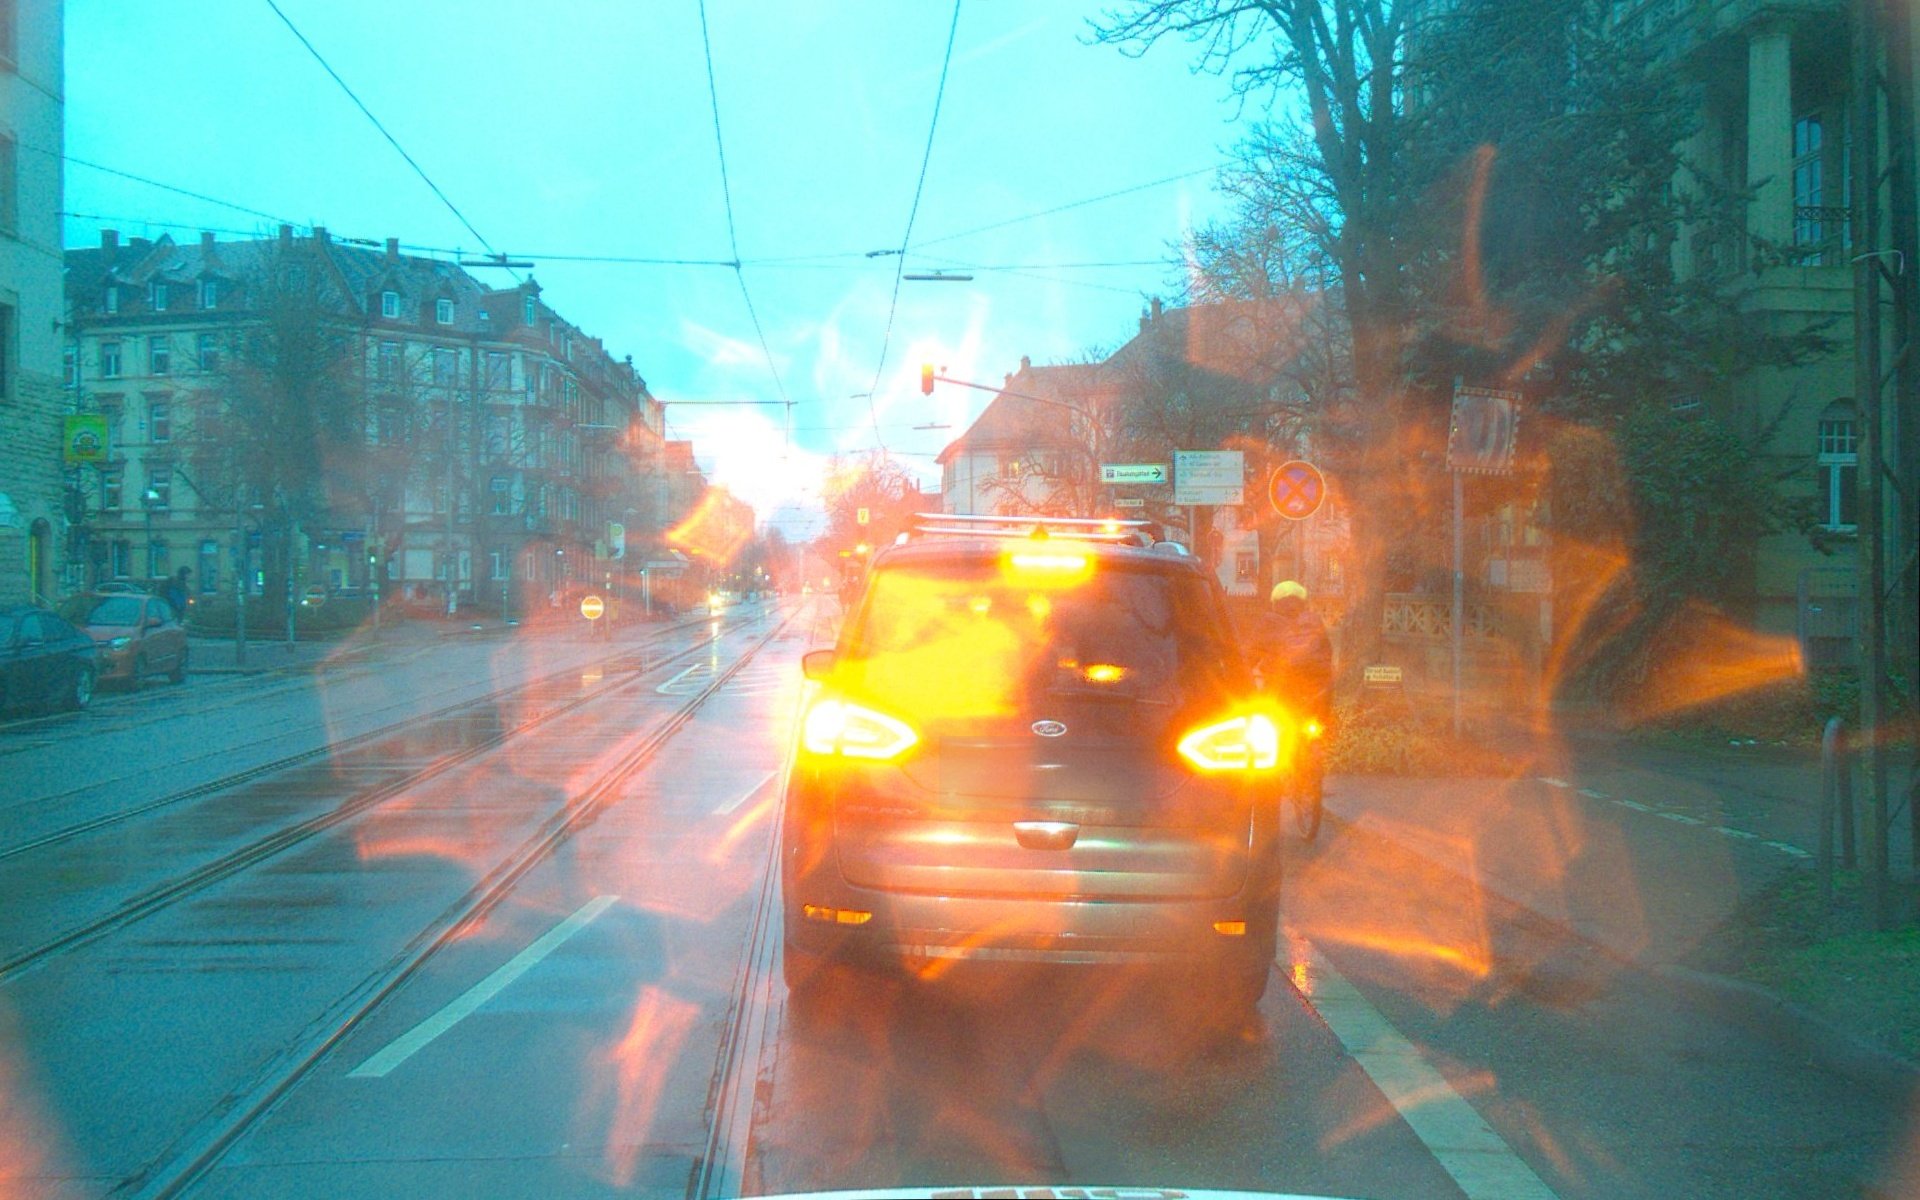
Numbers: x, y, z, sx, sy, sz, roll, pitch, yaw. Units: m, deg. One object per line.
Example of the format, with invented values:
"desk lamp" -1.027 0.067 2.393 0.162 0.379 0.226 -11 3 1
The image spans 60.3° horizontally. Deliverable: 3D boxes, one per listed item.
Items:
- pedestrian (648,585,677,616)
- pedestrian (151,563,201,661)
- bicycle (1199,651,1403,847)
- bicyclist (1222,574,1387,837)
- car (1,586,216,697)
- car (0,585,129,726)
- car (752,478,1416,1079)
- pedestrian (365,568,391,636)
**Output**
"pedestrian" -12.233 0.022 68.013 1.026 1.221 0.884 1 0 -4
"pedestrian" -16.733 0.252 35.304 0.742 2.049 0.646 0 -1 32
"bicycle" 2.312 0.982 11.495 0.703 1.131 1.938 4 0 -9
"bicyclist" 2.350 0.694 11.394 0.703 1.691 1.054 4 0 -9
"car" -14.244 0.643 27.940 2.000 1.578 4.023 4 0 -9
"car" -13.101 0.667 22.125 1.949 1.674 4.624 5 -1 -7
"car" 0.312 0.557 7.560 2.061 1.848 4.658 2 0 -2
"pedestrian" -17.547 0.063 49.870 0.695 2.049 0.656 0 0 -24
